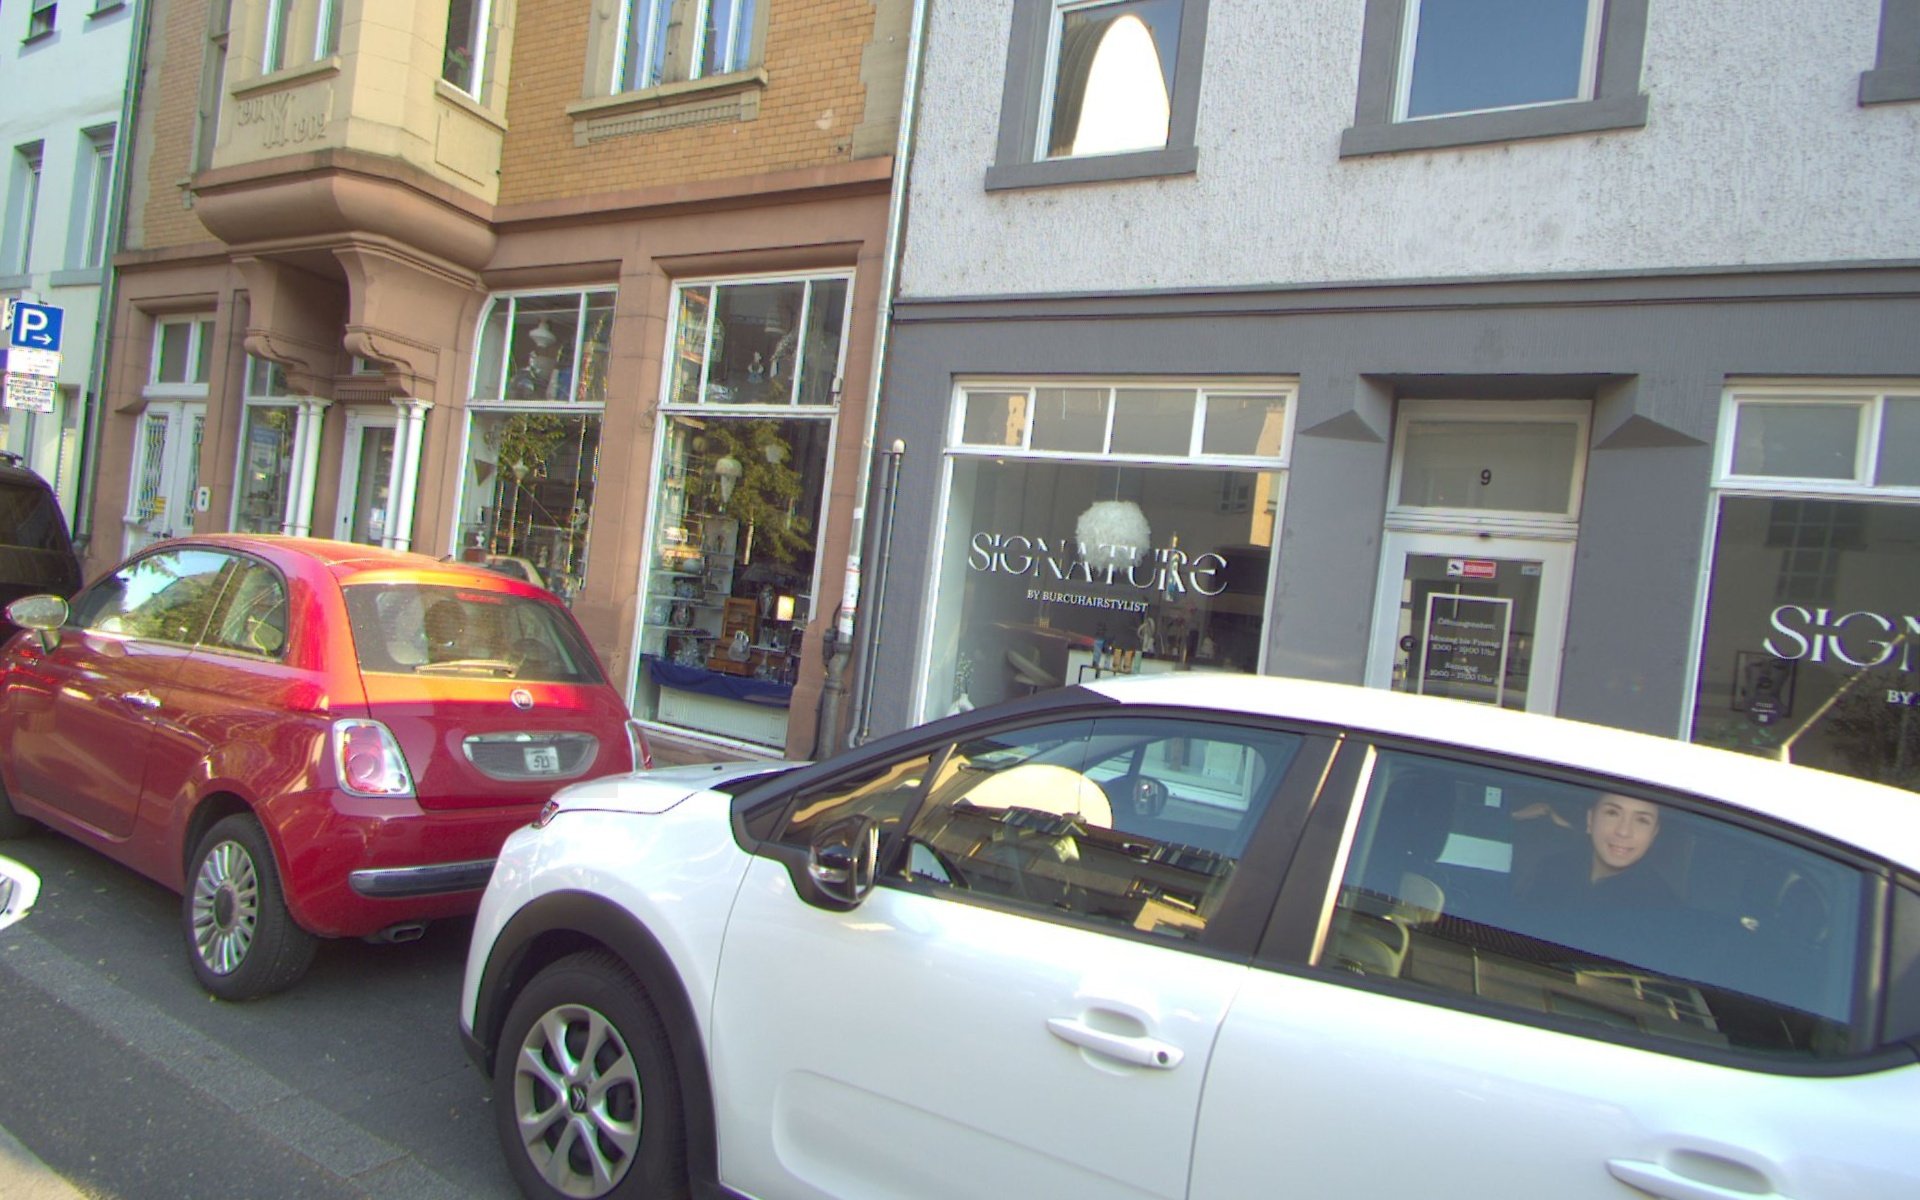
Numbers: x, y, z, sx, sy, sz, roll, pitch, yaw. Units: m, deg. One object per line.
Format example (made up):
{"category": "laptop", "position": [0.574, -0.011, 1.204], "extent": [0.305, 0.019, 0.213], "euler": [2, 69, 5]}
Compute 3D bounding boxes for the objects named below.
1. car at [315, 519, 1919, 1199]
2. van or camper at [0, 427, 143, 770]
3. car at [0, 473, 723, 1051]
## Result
{"category": "car", "position": [0.434, 0.844, 2.489], "extent": [3.868, 1.591, 1.666], "euler": [7, -2, 29]}
{"category": "van or camper", "position": [-7.265, -0.260, 5.903], "extent": [4.380, 1.829, 1.896], "euler": [7, -1, 23]}
{"category": "car", "position": [-2.916, 0.424, 4.439], "extent": [3.364, 1.588, 1.529], "euler": [7, -1, 30]}
